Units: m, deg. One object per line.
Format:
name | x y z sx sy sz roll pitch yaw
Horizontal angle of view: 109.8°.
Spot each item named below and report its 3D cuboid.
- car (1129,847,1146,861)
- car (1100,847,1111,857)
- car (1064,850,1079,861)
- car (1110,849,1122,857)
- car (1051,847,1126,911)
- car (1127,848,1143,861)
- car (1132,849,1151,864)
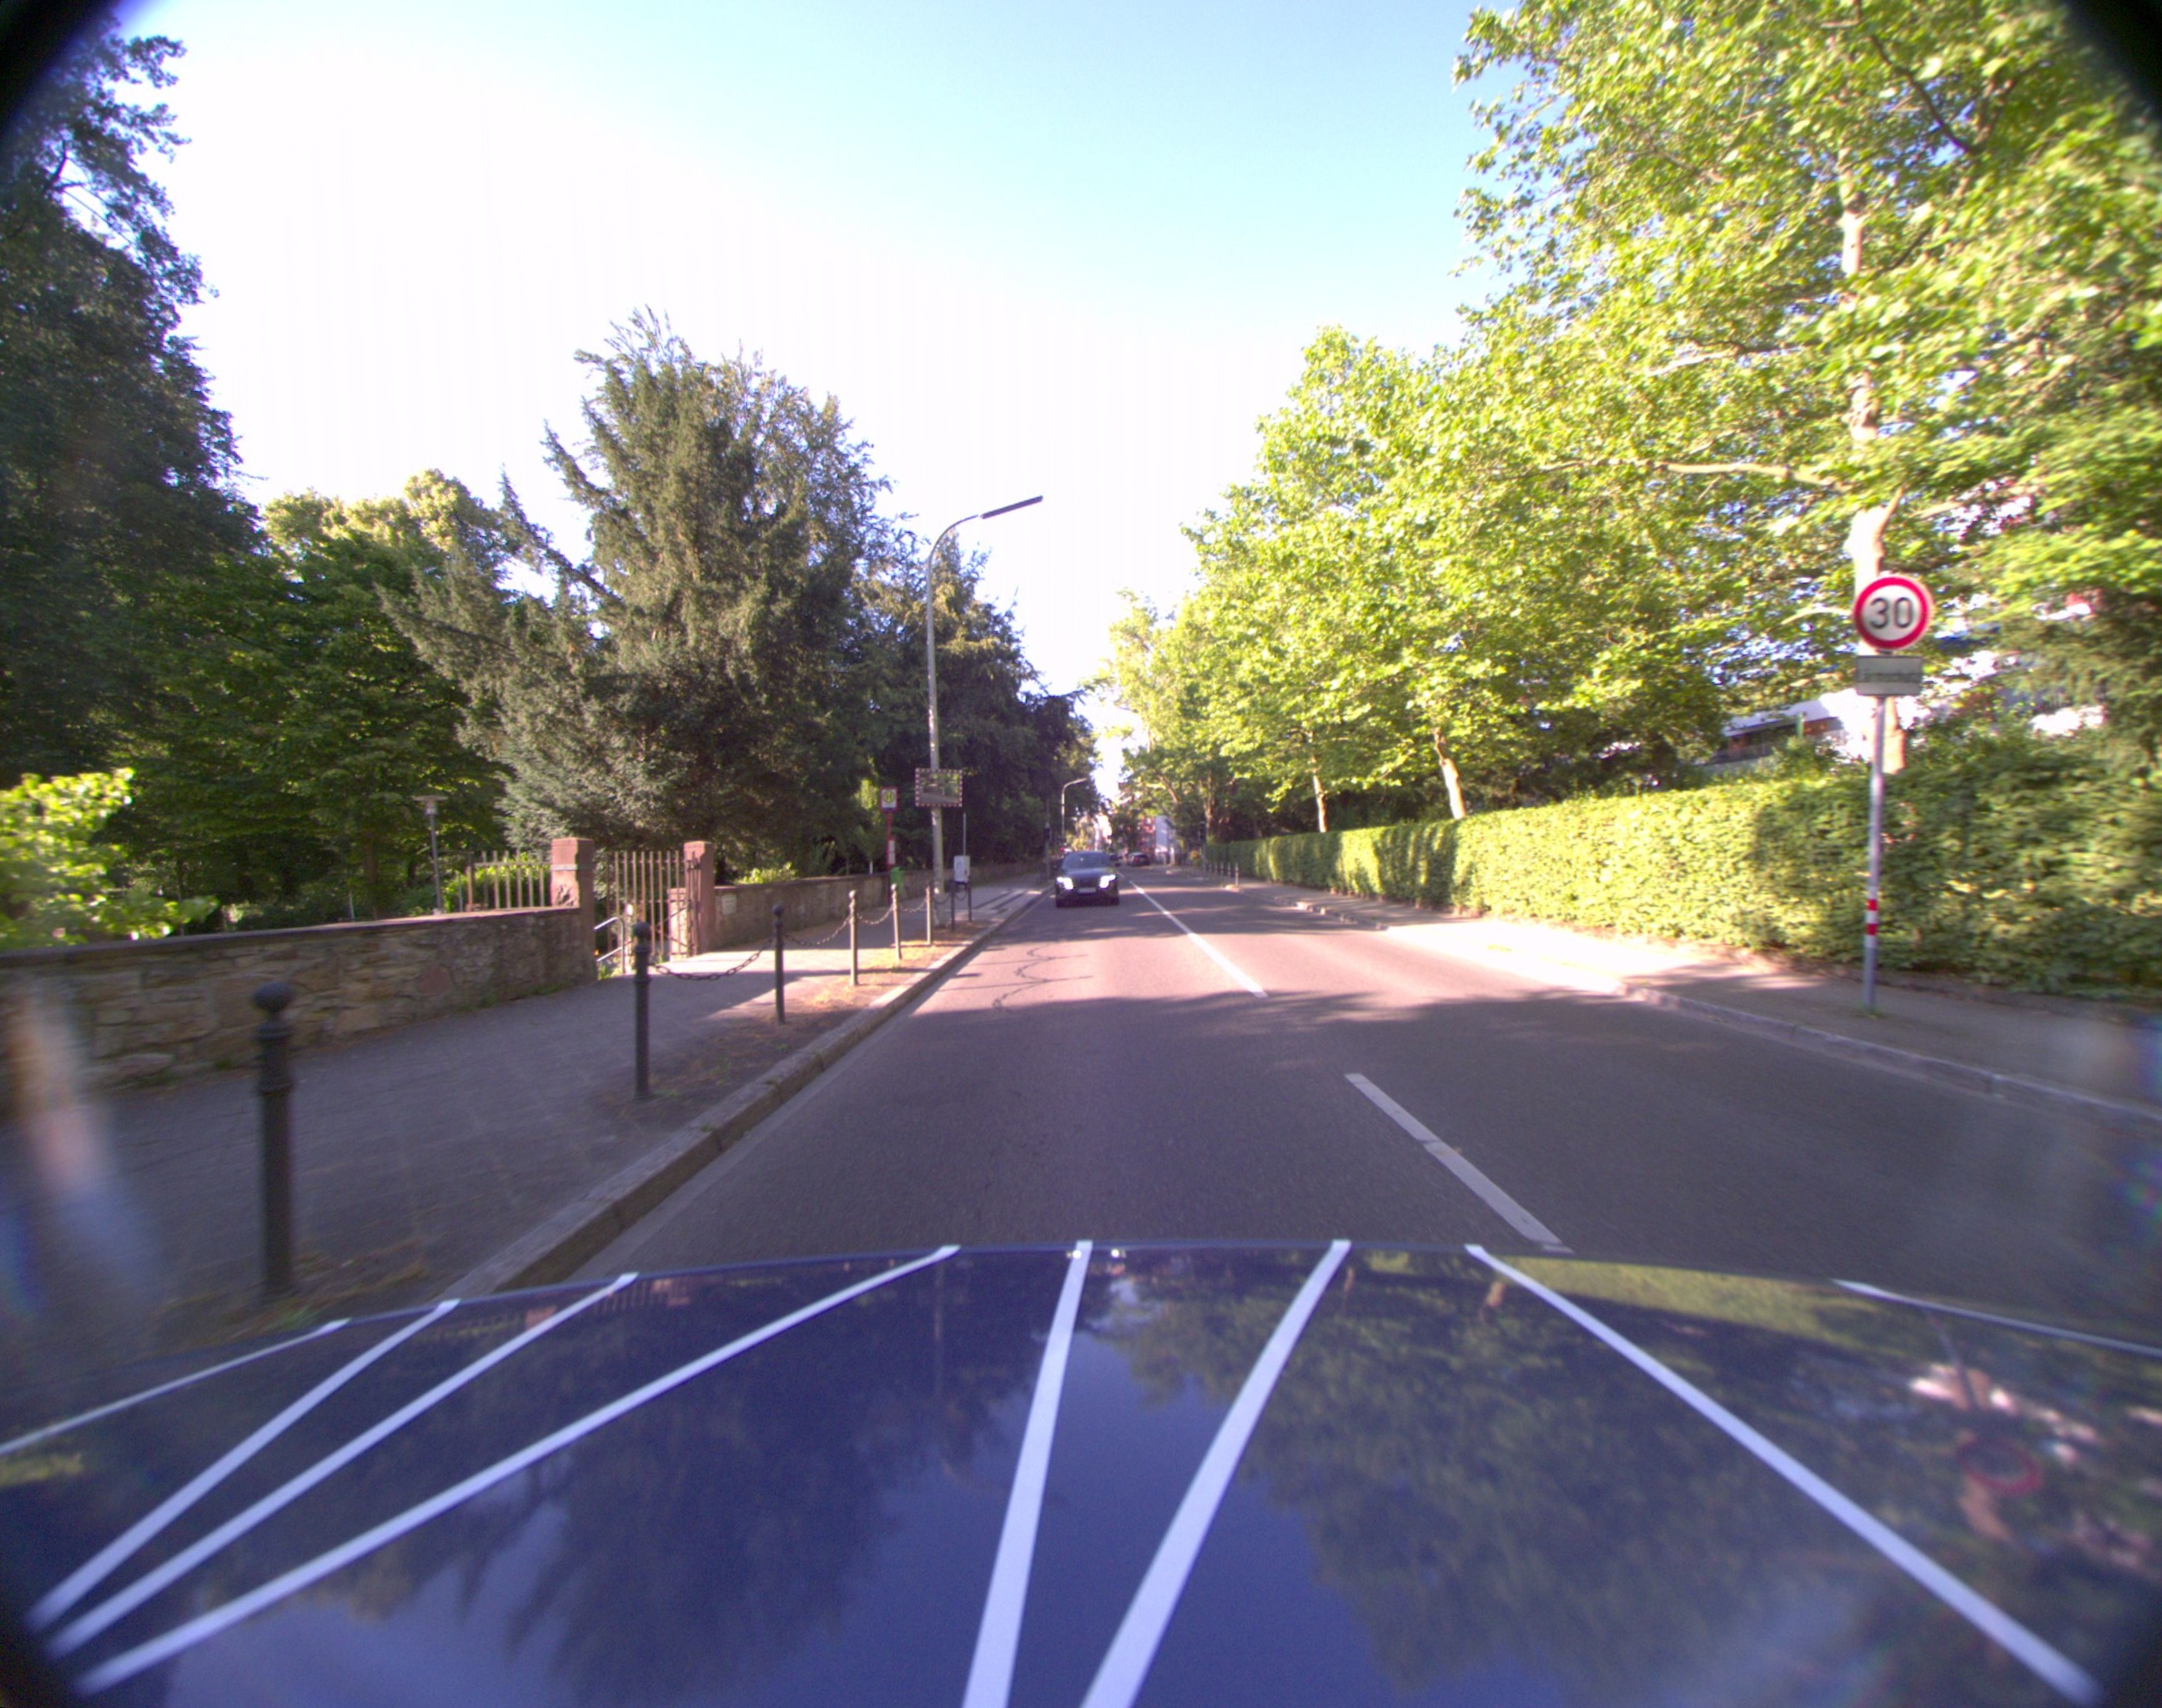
car | 6.570 -0.034 88.089 1.628 1.538 3.321 -1 0 0
car | 4.645 -0.394 144.672 1.999 1.957 4.776 0 1 -1
car | -1.289 0.215 101.294 1.824 1.375 3.933 1 1 -4
car | 6.438 -0.110 139.783 1.824 1.375 3.933 1 1 -4
car | 0.340 0.679 22.800 1.936 1.676 4.433 -1 0 4
car | 6.527 0.023 92.603 1.628 1.426 3.559 -3 0 -1
car | 6.611 0.244 82.924 1.689 1.426 3.615 -5 0 0
